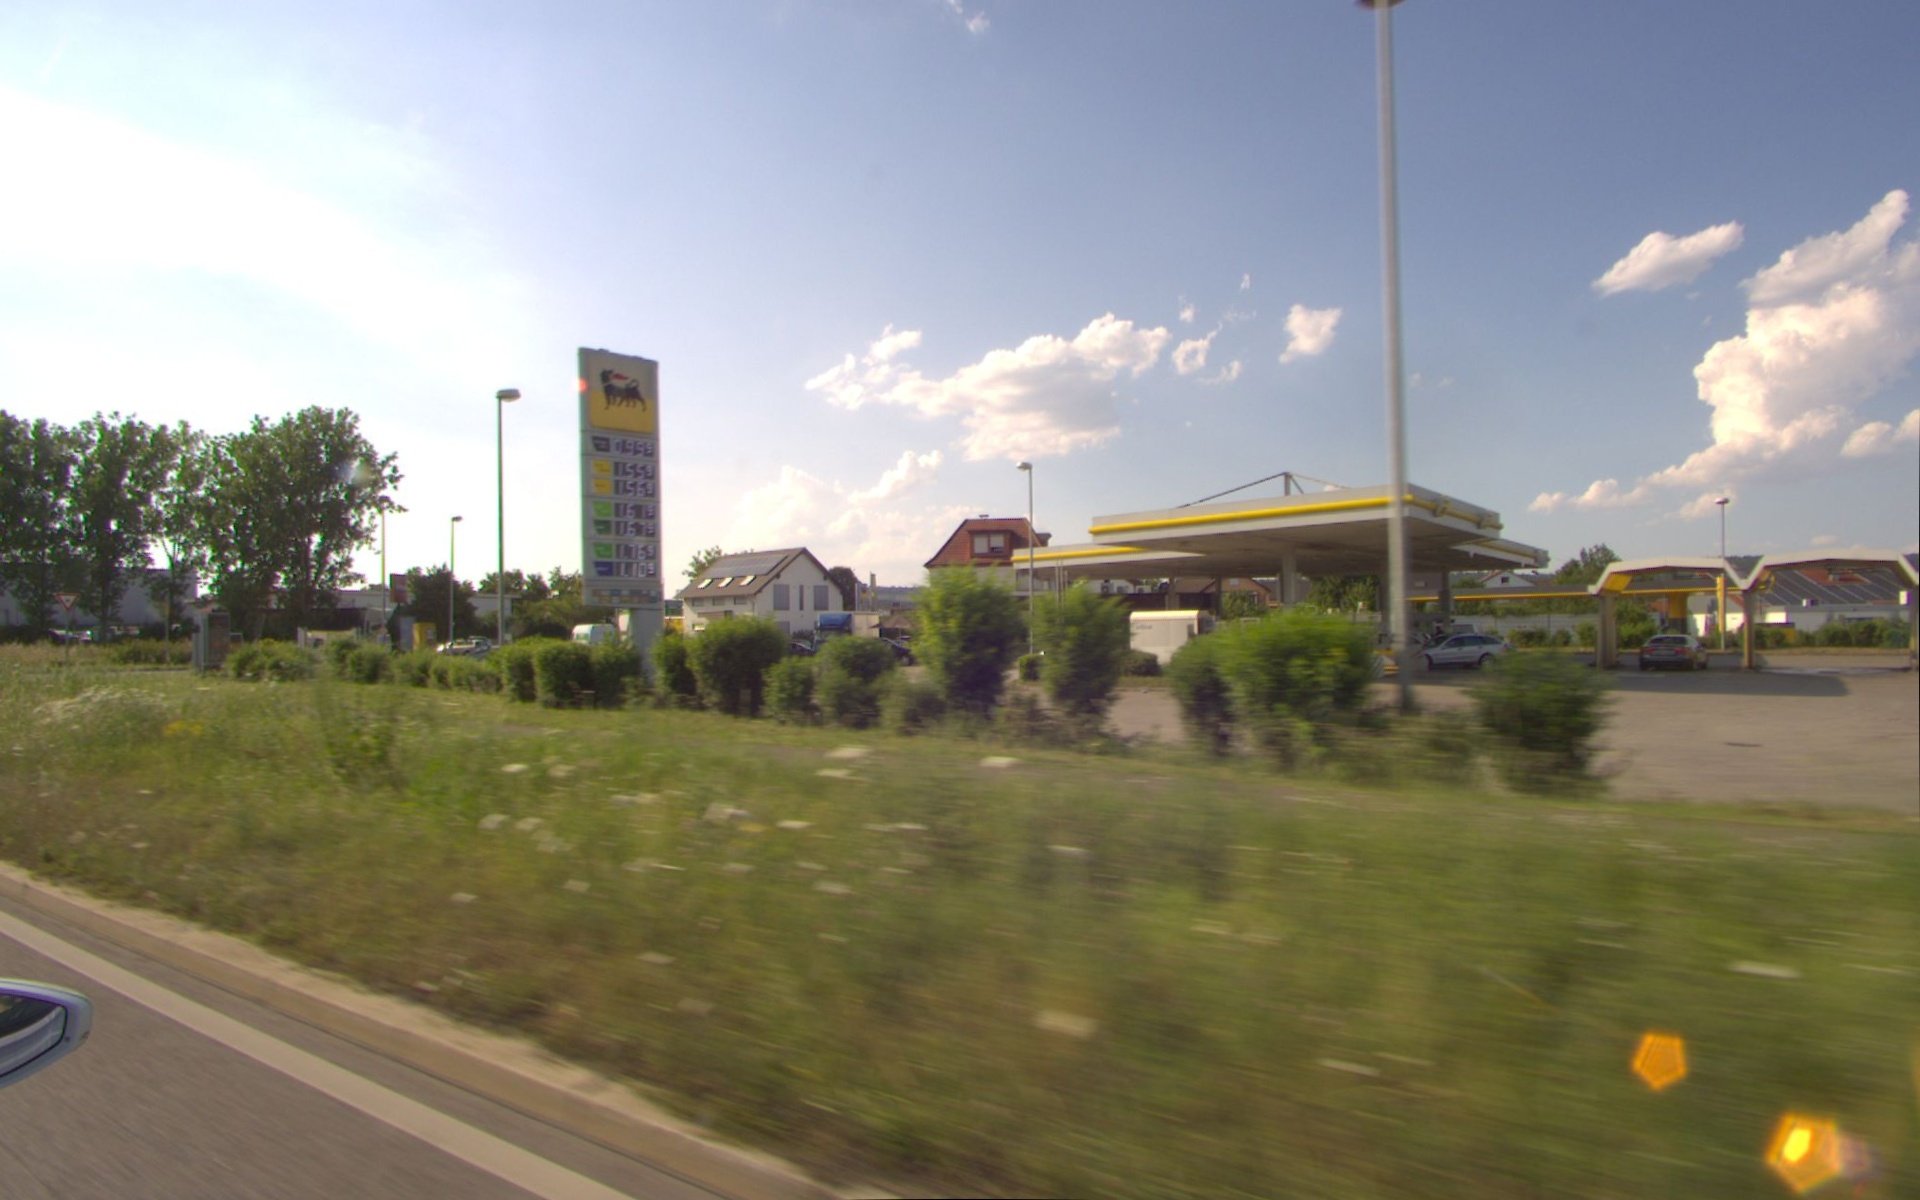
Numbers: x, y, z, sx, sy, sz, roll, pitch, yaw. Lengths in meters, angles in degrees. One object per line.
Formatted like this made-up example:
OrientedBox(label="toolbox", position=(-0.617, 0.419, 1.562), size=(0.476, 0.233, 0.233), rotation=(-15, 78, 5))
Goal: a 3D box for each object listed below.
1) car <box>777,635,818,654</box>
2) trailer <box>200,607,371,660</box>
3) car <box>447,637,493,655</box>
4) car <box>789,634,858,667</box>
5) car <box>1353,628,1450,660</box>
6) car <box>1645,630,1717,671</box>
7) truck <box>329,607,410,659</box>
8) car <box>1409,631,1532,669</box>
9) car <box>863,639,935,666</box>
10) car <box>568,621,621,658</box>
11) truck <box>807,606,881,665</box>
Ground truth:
OrientedBox(label="car", position=(-13.362, 3.675, 82.662), size=(1.818, 1.410, 3.594), rotation=(-1, -4, 19))
OrientedBox(label="trailer", position=(-53.432, 2.704, 79.295), size=(13.462, 3.962, 2.252), rotation=(-1, -3, 11))
OrientedBox(label="car", position=(-39.942, 3.790, 81.637), size=(3.074, 1.394, 1.564), rotation=(-1, -4, 18))
OrientedBox(label="car", position=(-8.614, 3.205, 63.569), size=(4.009, 2.037, 1.771), rotation=(0, -4, 6))
OrientedBox(label="car", position=(23.099, 2.339, 52.449), size=(4.299, 1.557, 1.789), rotation=(-3, -5, 44))
OrientedBox(label="car", position=(28.805, 2.060, 39.961), size=(1.785, 1.557, 4.308), rotation=(-3, -5, 42))
OrientedBox(label="truck", position=(-46.047, 2.604, 78.137), size=(5.019, 3.962, 2.253), rotation=(0, -3, 5))
OrientedBox(label="car", position=(21.631, 2.153, 42.555), size=(4.258, 1.557, 1.806), rotation=(0, -3, 5))
OrientedBox(label="car", position=(-3.798, 3.324, 62.941), size=(4.336, 1.654, 1.852), rotation=(0, -4, 3))
OrientedBox(label="car", position=(-27.006, 2.987, 73.844), size=(2.207, 2.549, 6.781), rotation=(2, -5, -33))
OrientedBox(label="truck", position=(-7.876, 2.559, 69.120), size=(2.714, 3.733, 8.015), rotation=(0, -4, 11))
